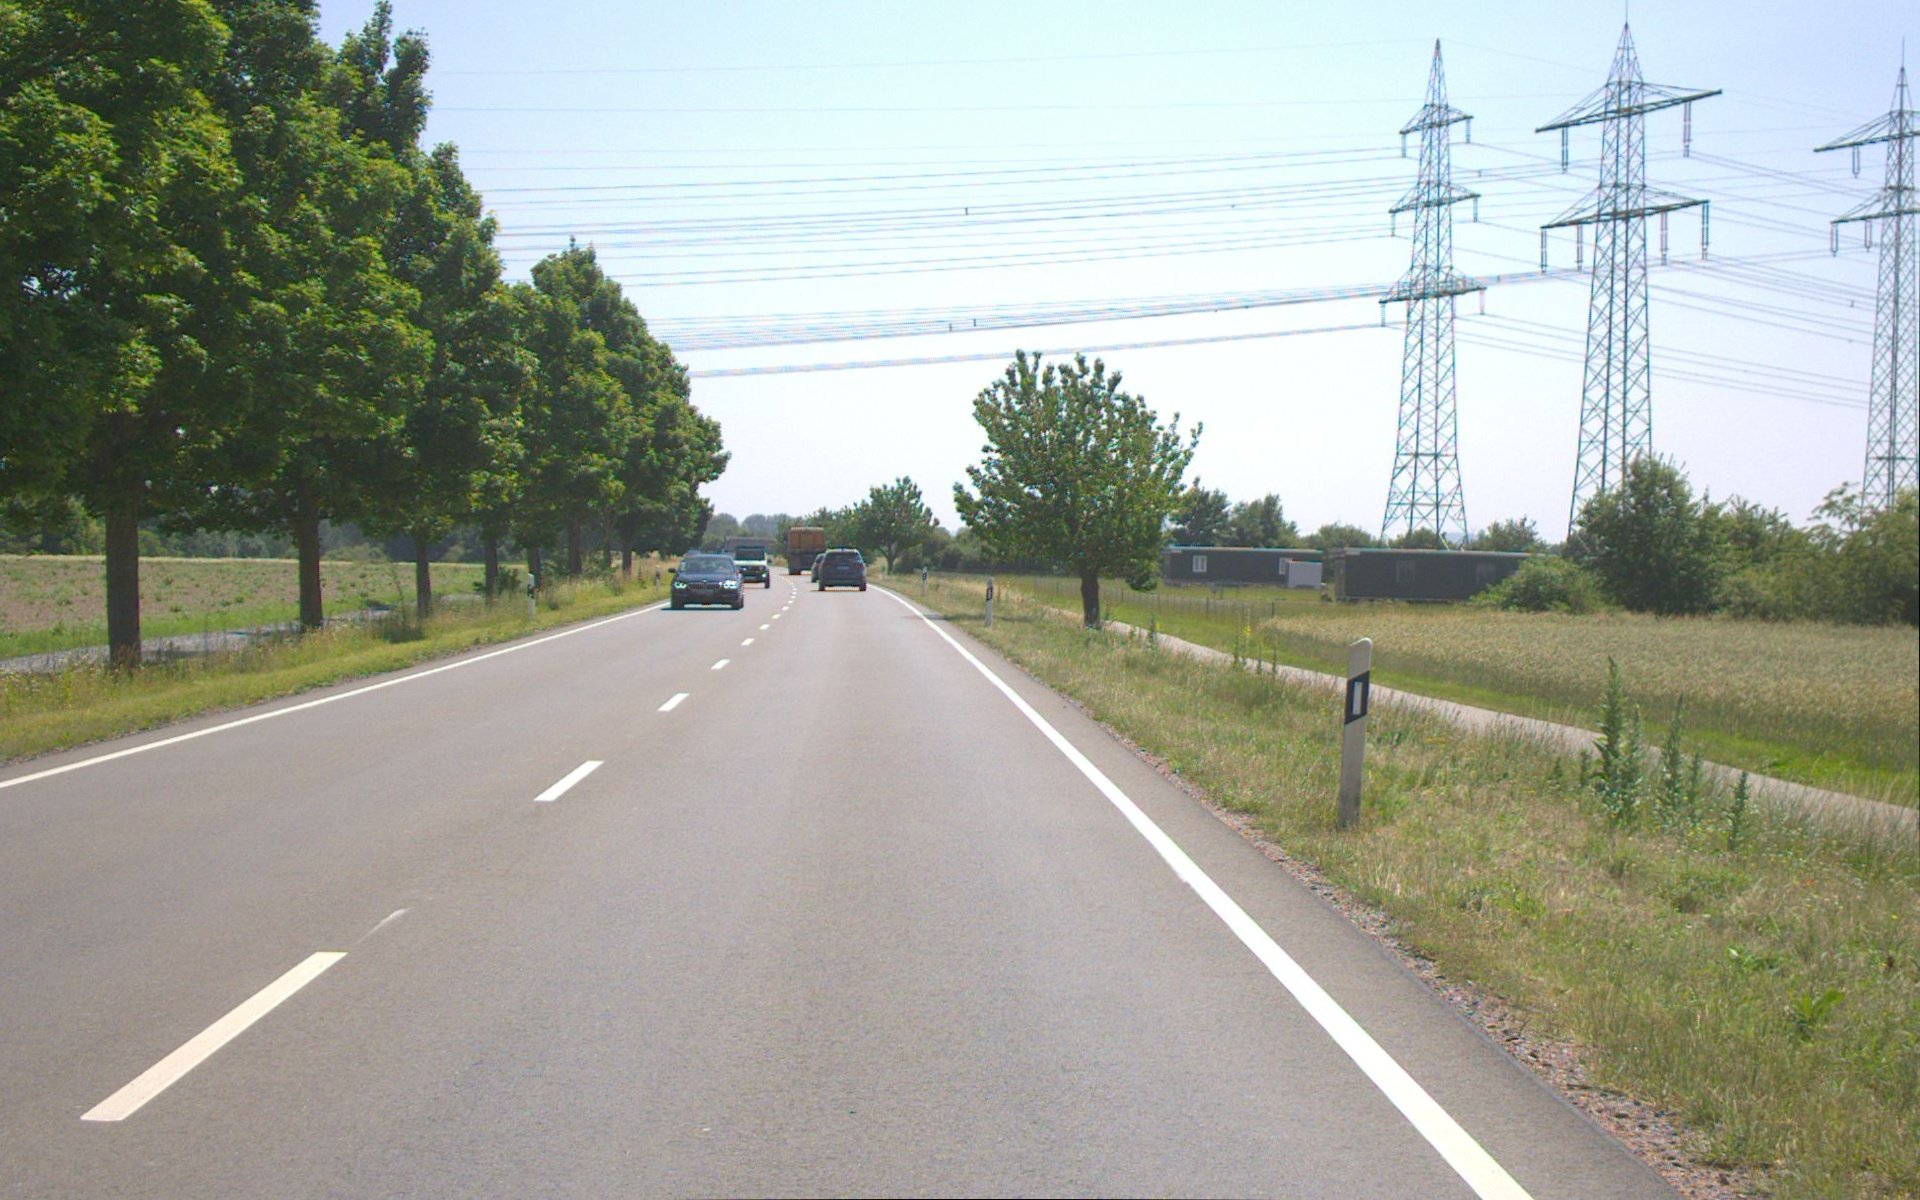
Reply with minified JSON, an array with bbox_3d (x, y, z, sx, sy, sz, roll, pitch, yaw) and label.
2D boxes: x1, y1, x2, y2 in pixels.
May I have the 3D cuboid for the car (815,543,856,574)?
[{"bbox_3d":[-6.228,-2.059,171.858,1.850,1.518,4.001,0,0,-5],"label":"car"}]

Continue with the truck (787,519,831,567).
[{"bbox_3d":[-10.136,-3.804,230.593,2.370,3.129,8.749,1,1,-6],"label":"truck"}]

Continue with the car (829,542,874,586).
[{"bbox_3d":[-4.369,-1.441,137.839,1.714,1.688,3.989,0,0,-3],"label":"car"}]

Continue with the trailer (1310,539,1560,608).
[{"bbox_3d":[26.739,-1.499,193.944,13.507,3.463,3.277,2,1,-4],"label":"trailer"}]

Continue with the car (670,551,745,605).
[{"bbox_3d":[-6.820,-0.606,93.199,1.822,1.415,4.589,0,0,-2],"label":"car"}]

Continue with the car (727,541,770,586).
[{"bbox_3d":[-9.034,-1.580,146.912,1.681,1.842,4.000,1,1,-2],"label":"car"}]
